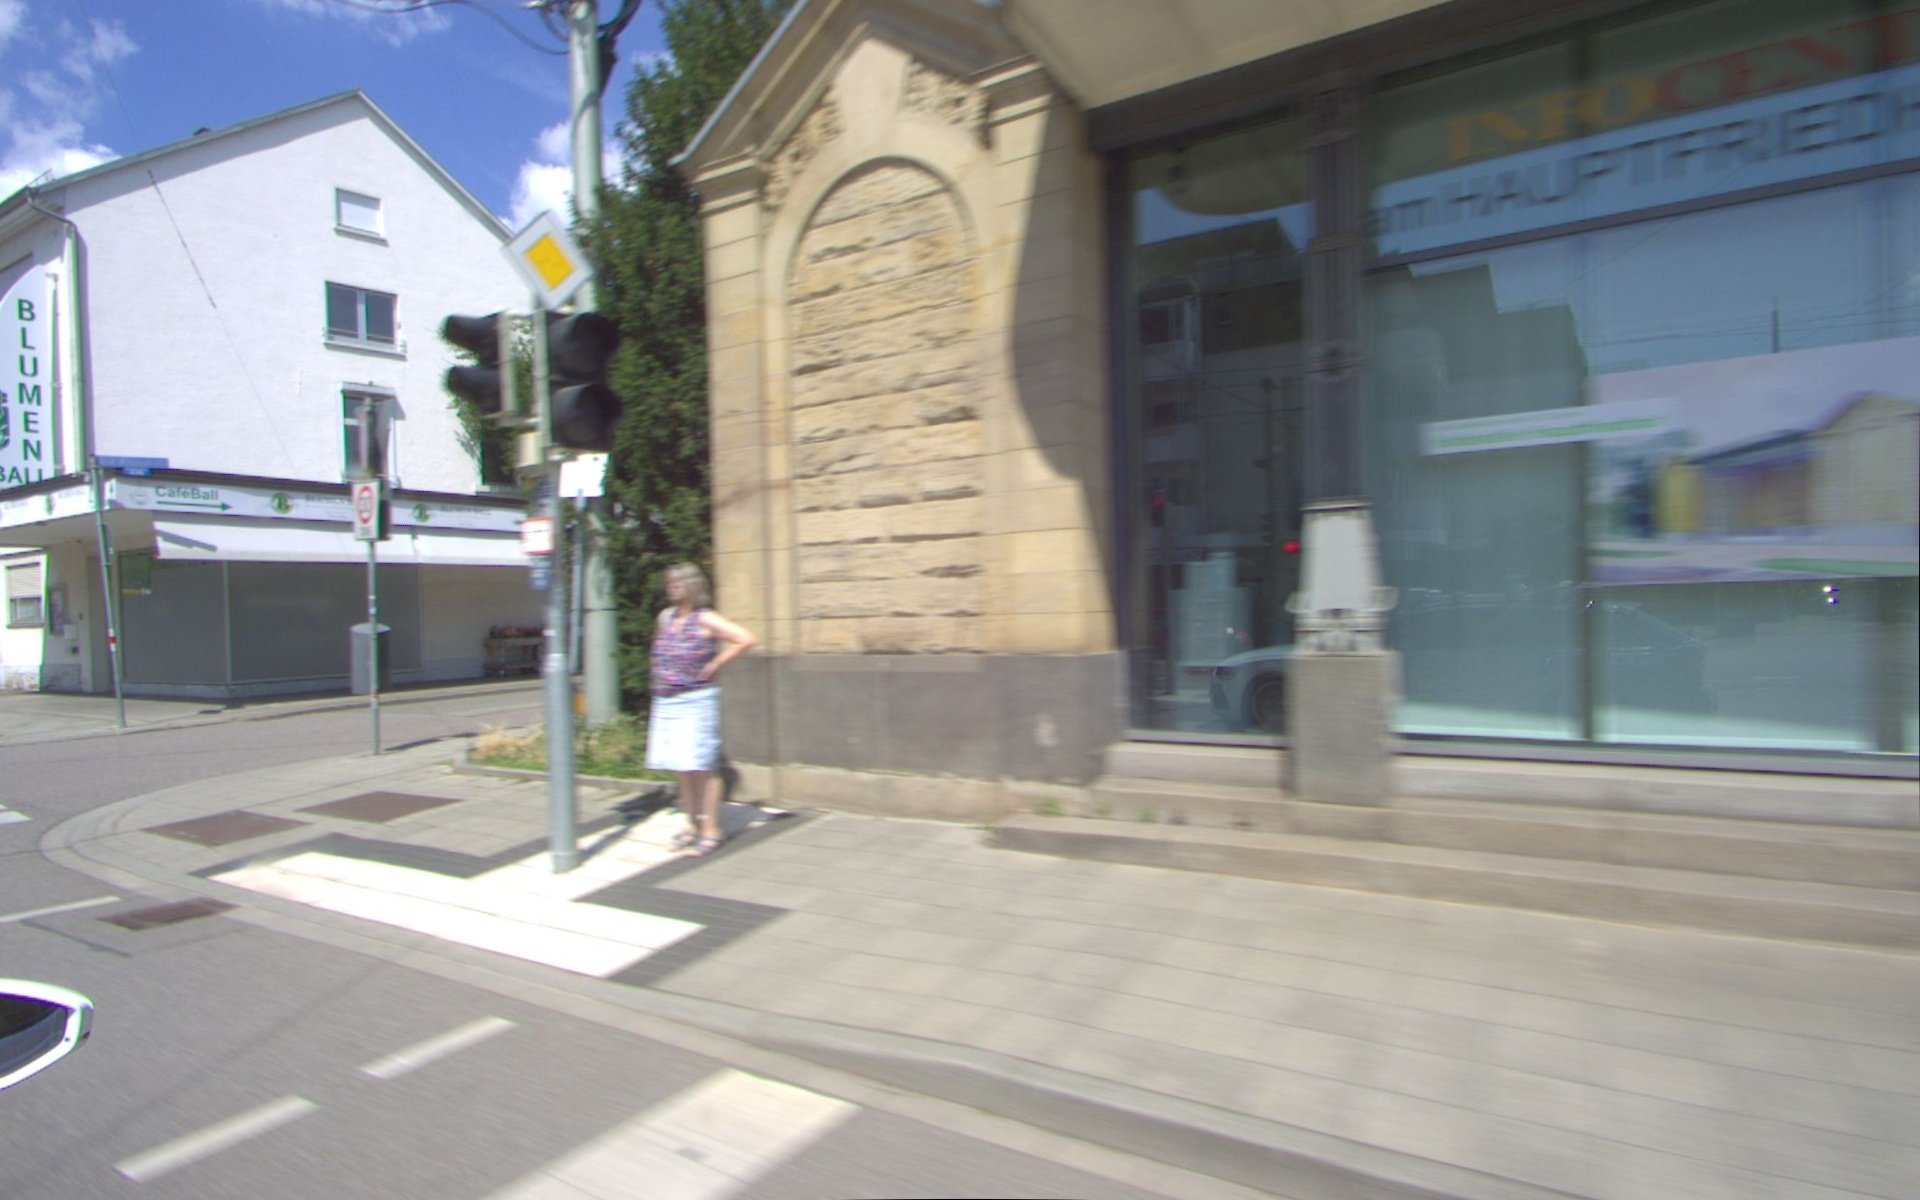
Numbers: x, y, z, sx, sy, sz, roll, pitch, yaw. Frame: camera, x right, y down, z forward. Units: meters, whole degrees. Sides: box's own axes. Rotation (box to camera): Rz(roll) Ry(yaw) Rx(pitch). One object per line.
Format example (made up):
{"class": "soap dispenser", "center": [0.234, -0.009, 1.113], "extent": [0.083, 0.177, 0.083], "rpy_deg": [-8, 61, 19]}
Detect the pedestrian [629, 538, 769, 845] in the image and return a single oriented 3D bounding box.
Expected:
{"class": "pedestrian", "center": [-1.557, 0.507, 5.941], "extent": [0.558, 1.688, 0.677], "rpy_deg": [-2, 1, -36]}
